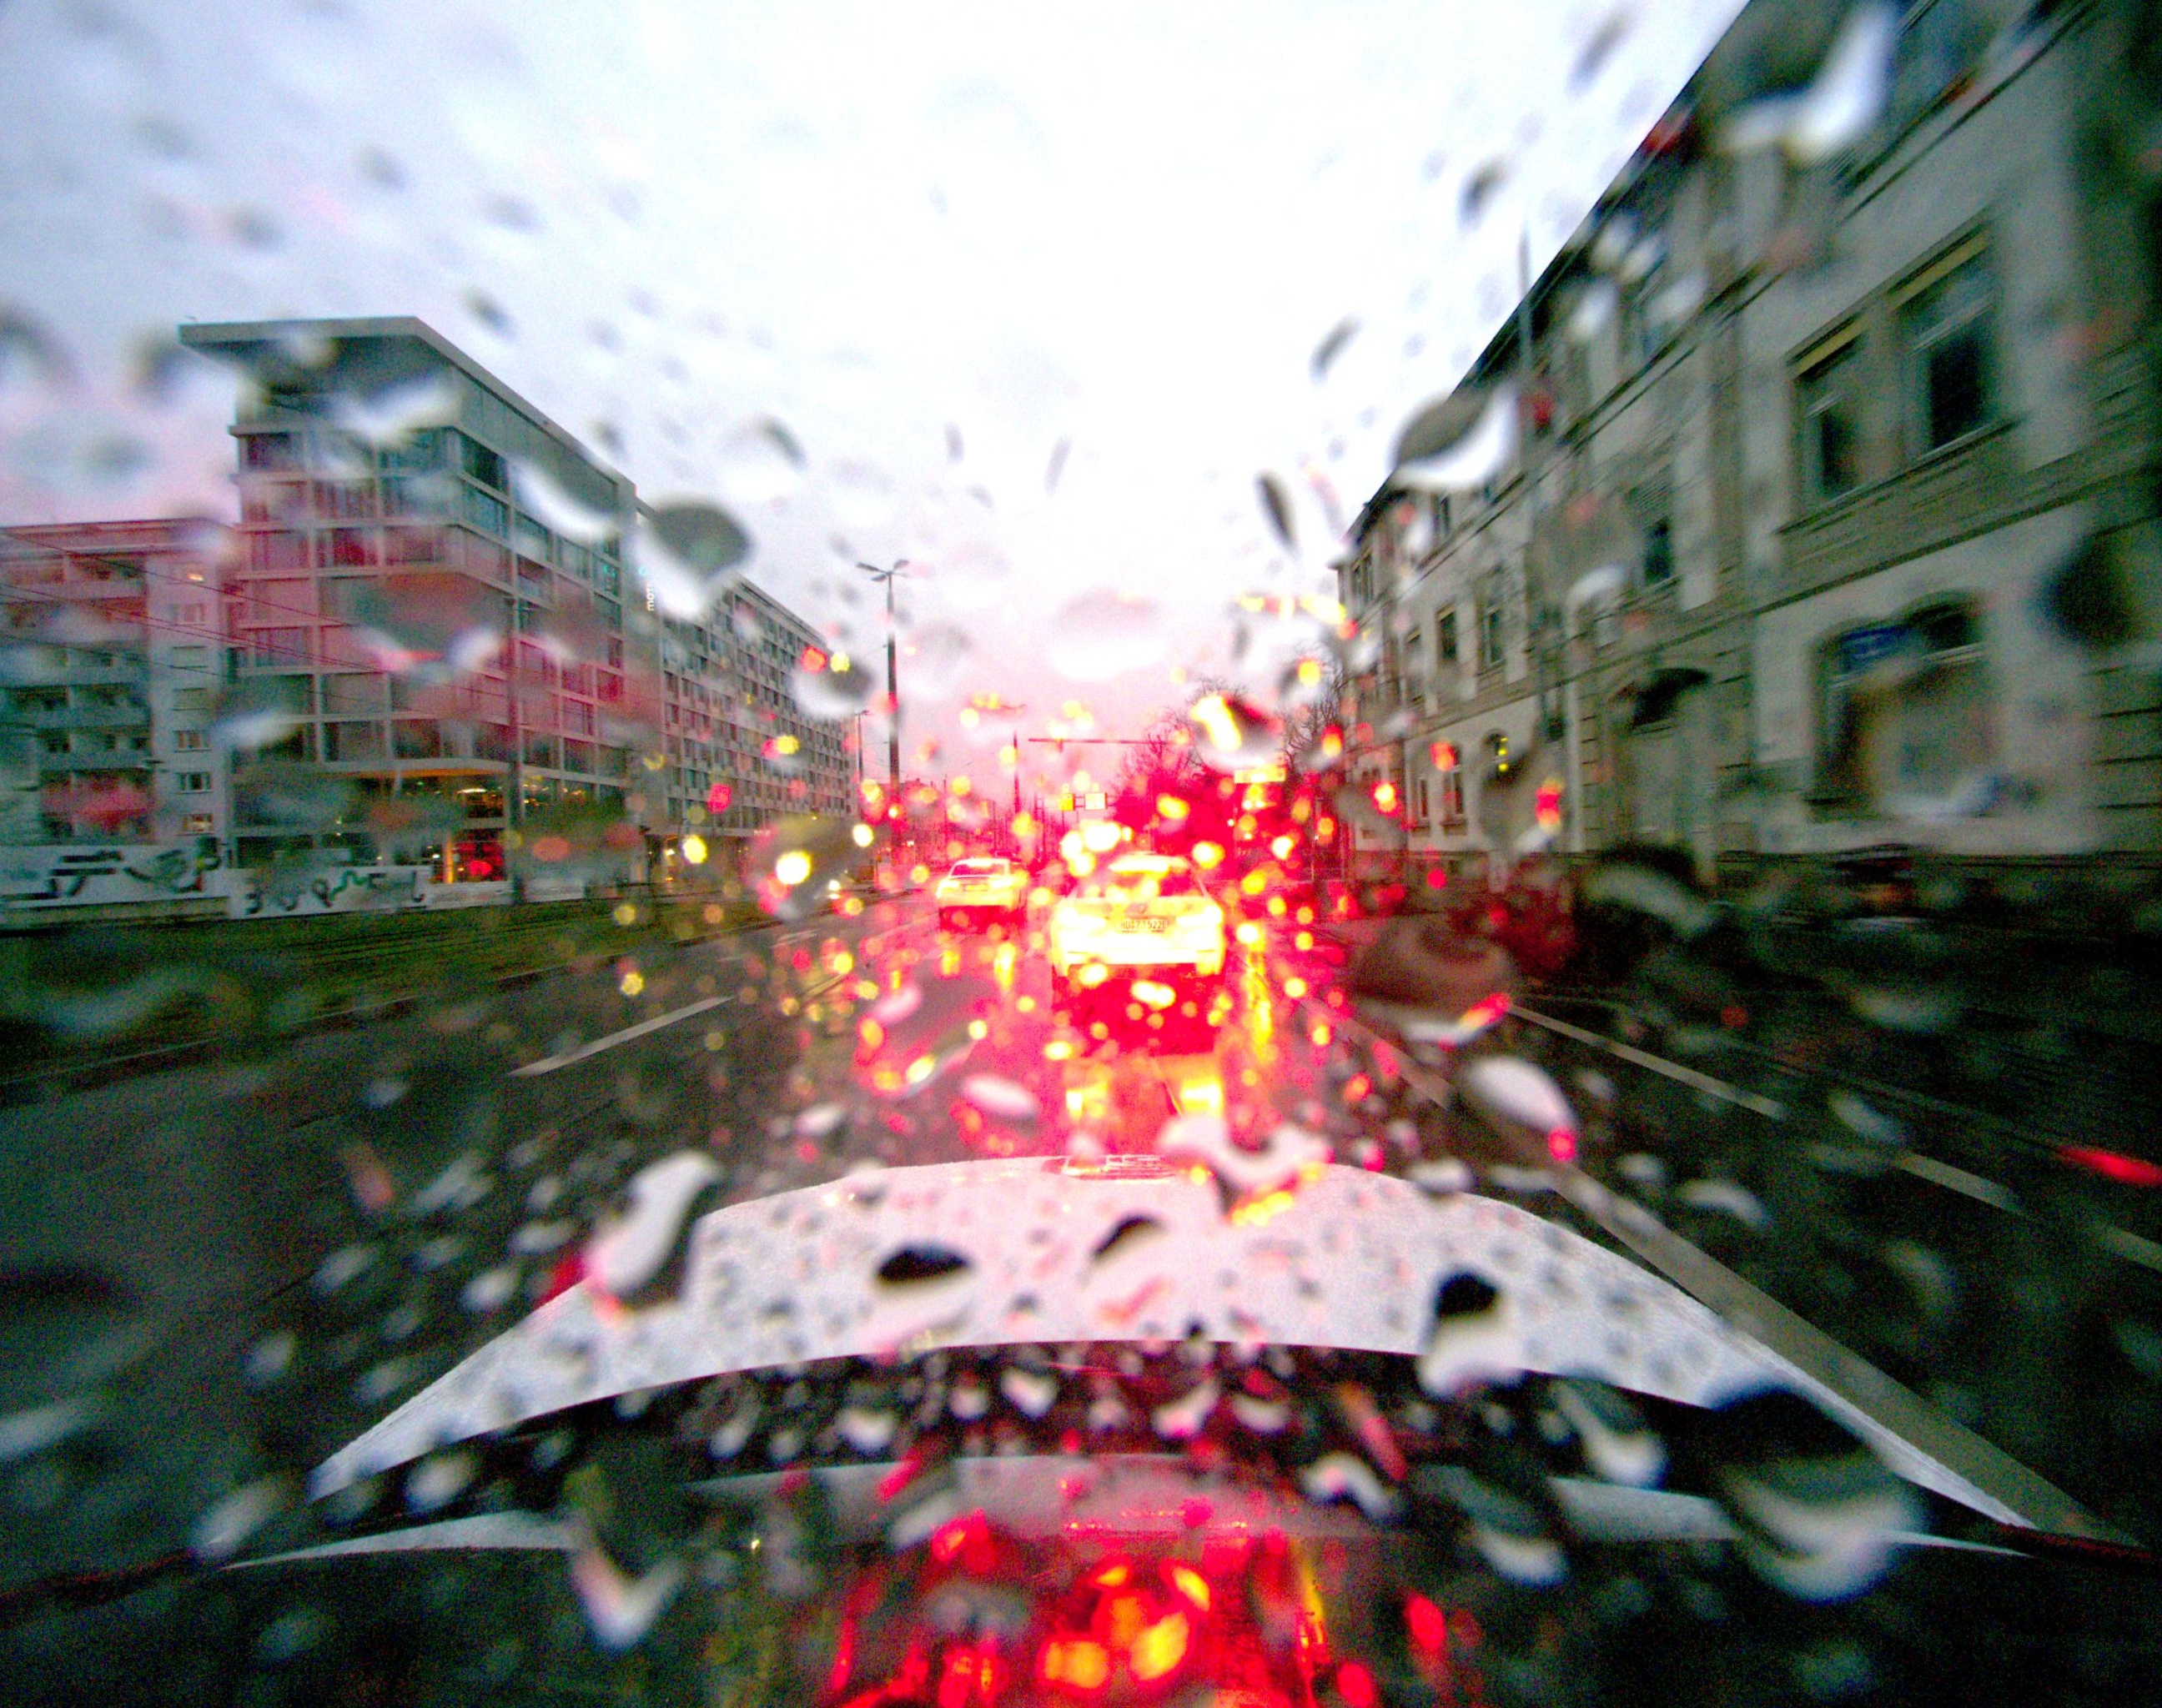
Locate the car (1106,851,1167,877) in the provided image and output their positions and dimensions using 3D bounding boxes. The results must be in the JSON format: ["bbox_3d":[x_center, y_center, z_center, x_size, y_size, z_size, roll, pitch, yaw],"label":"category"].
[{"bbox_3d":[3.594,0.666,53.189,1.858,1.609,3.899,0,-1,-39],"label":"car"}]

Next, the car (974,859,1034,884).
[{"bbox_3d":[-5.062,1.125,53.918,1.825,1.609,3.970,-1,-1,36],"label":"car"}]

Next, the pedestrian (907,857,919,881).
[{"bbox_3d":[-11.779,1.048,56.994,0.791,1.711,0.809,0,-1,-14],"label":"pedestrian"}]

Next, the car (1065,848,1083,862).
[{"bbox_3d":[-0.762,0.077,91.816,1.987,1.456,4.367,-1,0,-1],"label":"car"}]

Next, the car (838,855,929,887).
[{"bbox_3d":[-11.232,0.982,46.462,4.663,1.720,1.875,-1,-1,13],"label":"car"}]

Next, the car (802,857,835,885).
[{"bbox_3d":[-17.404,1.111,54.166,1.899,1.720,4.684,-1,-1,-16],"label":"car"}]

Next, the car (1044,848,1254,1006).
[{"bbox_3d":[0.636,0.679,9.988,1.987,1.456,4.367,-1,0,-1],"label":"car"}]

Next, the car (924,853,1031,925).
[{"bbox_3d":[-2.335,0.739,19.523,1.987,1.456,4.367,-1,0,-1],"label":"car"}]
